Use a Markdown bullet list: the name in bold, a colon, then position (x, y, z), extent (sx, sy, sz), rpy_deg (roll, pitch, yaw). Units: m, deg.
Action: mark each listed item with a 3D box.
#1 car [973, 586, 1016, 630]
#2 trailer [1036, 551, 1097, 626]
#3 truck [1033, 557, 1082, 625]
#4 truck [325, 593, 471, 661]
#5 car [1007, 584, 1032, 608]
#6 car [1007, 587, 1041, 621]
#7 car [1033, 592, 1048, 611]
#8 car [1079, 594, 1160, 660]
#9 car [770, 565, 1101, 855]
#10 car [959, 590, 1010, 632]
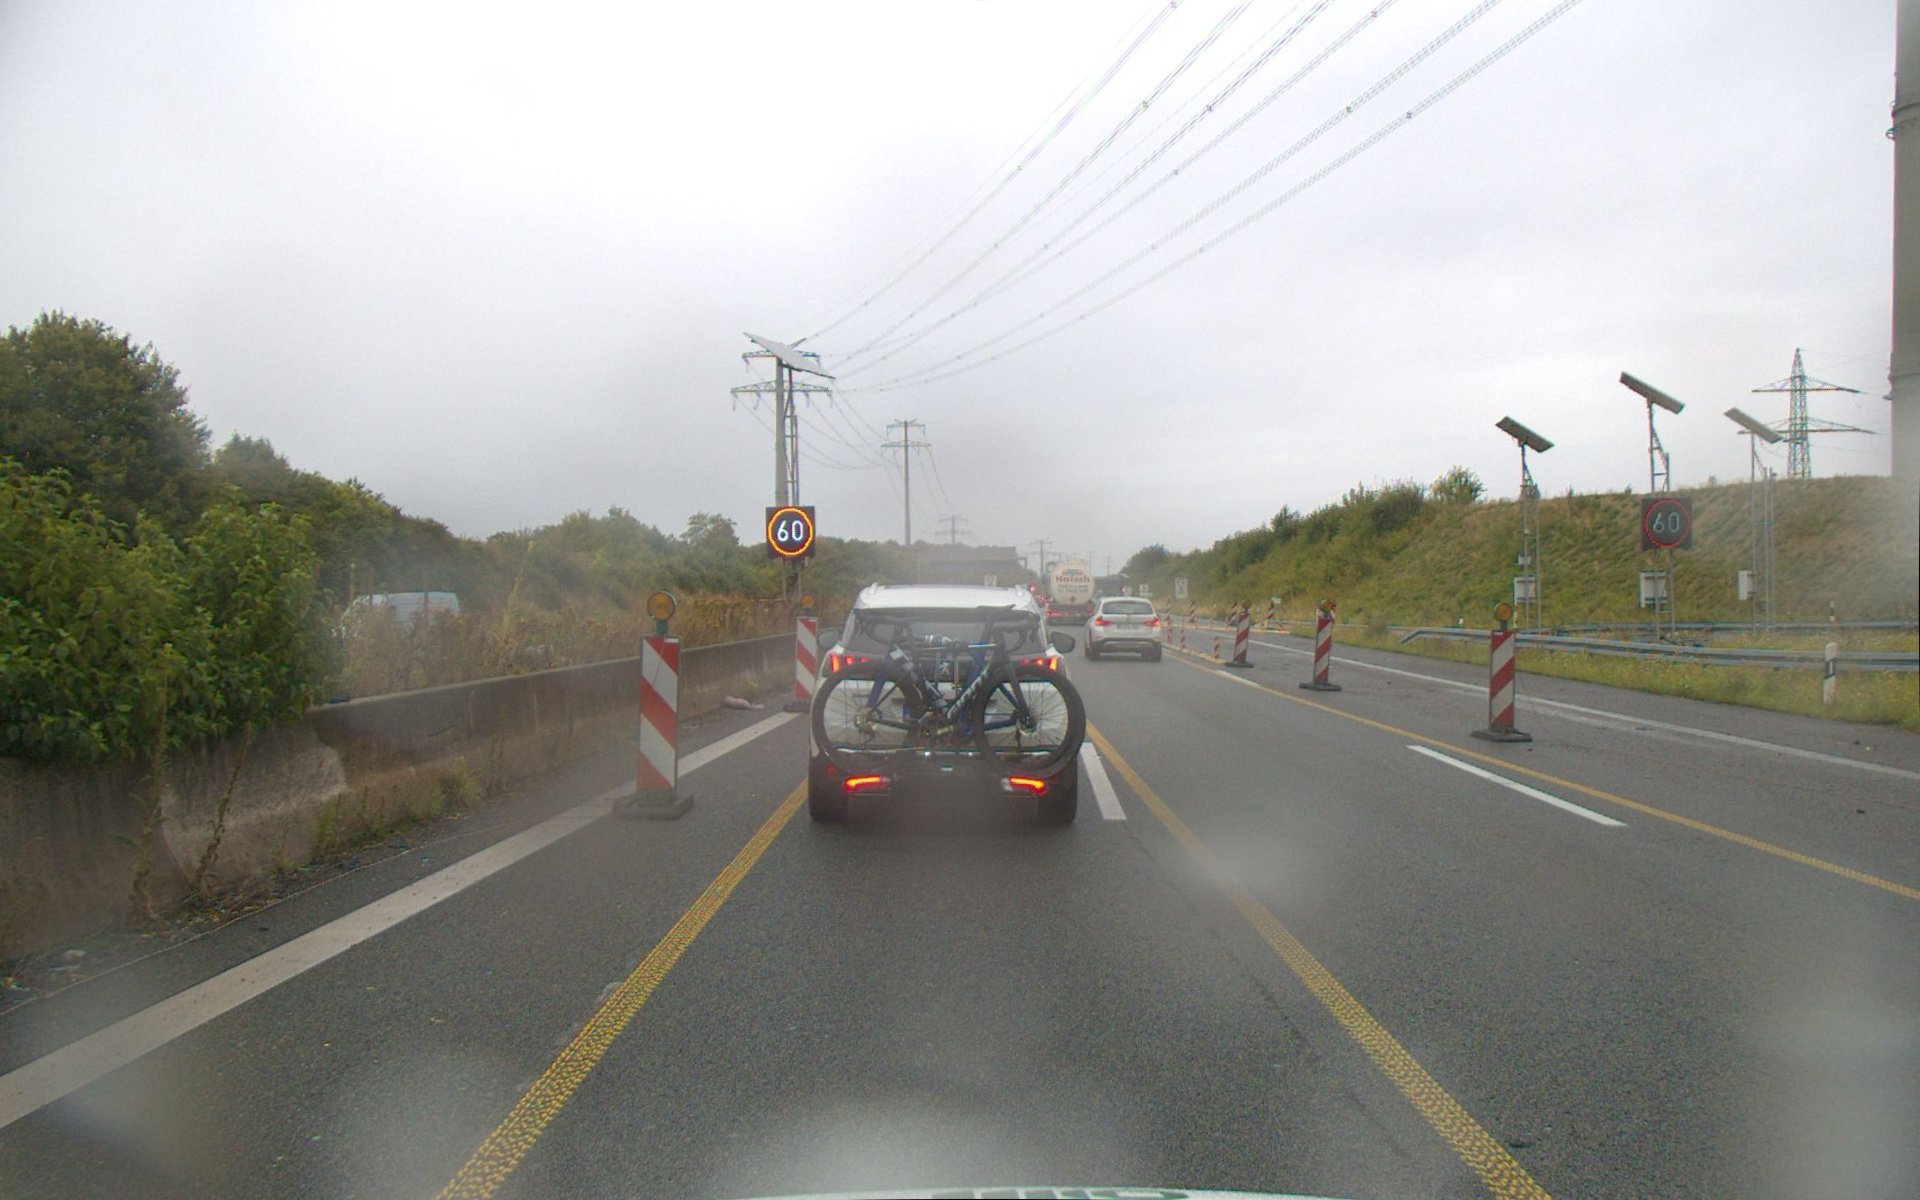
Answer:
- **car**: position (1.651, 0.363, 80.578), extent (1.953, 2.049, 4.000), rpy_deg (-1, 0, -1)
- **trailer**: position (5.902, -0.561, 93.013), extent (2.584, 3.961, 10.541), rpy_deg (1, -1, -1)
- **truck**: position (5.841, -0.505, 99.412), extent (2.591, 3.959, 4.029), rpy_deg (1, -1, -1)
- **truck**: position (-22.183, 1.026, 65.661), extent (1.952, 2.470, 6.437), rpy_deg (-1, 1, 18)
- **car**: position (5.147, -0.339, 142.693), extent (1.953, 2.049, 3.999), rpy_deg (1, -1, -1)
- **car**: position (4.005, 0.252, 104.406), extent (1.953, 2.049, 3.999), rpy_deg (1, -1, -1)
- **car**: position (8.858, 0.166, 182.564), extent (1.619, 2.049, 4.002), rpy_deg (0, 0, 3)
- **car**: position (3.956, 0.640, 41.503), extent (1.831, 1.561, 4.198), rpy_deg (0, 0, 3)
- **car**: position (-0.070, 0.624, 11.779), extent (1.888, 1.639, 4.596), rpy_deg (0, 0, 2)
- **car**: position (0.945, 0.414, 66.004), extent (1.953, 1.611, 3.999), rpy_deg (0, 0, -1)
